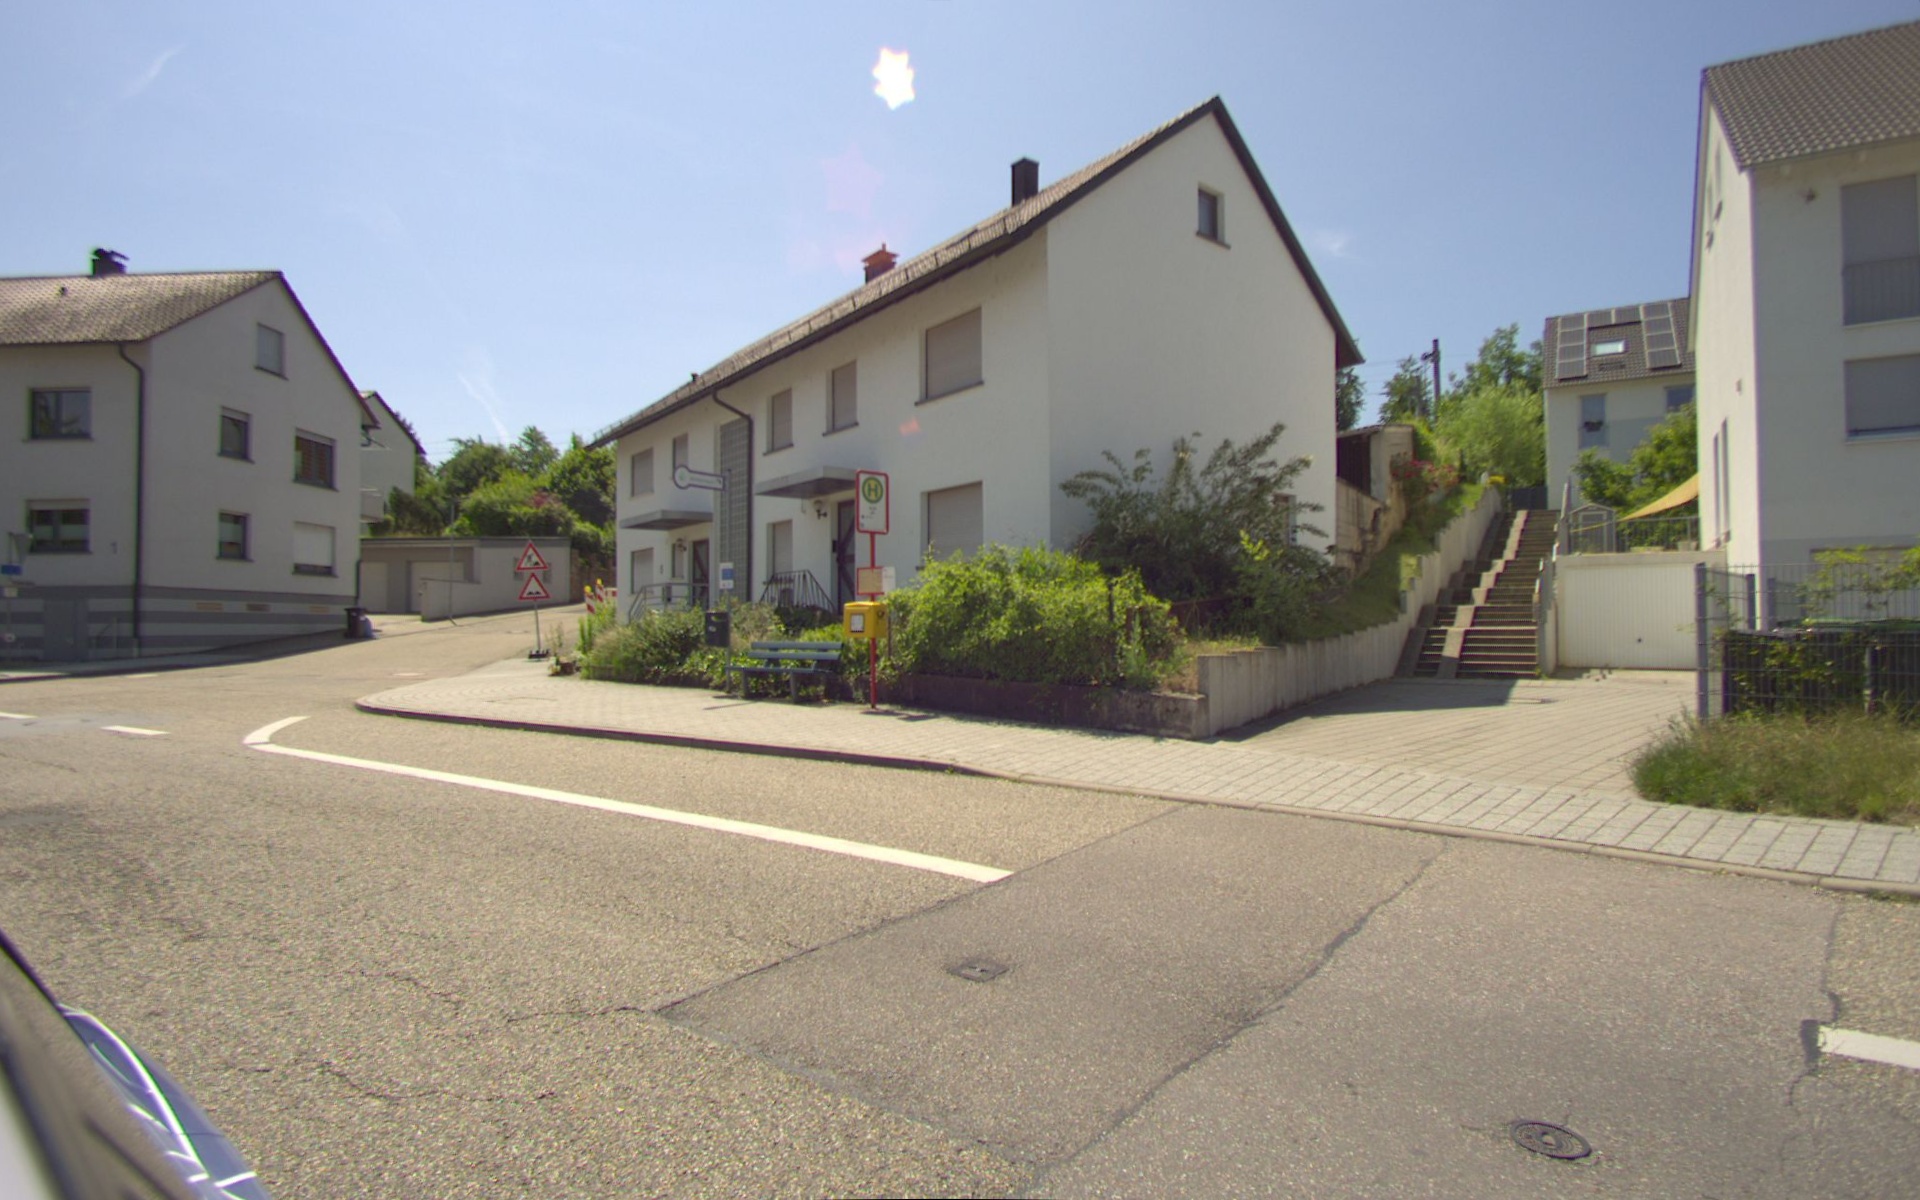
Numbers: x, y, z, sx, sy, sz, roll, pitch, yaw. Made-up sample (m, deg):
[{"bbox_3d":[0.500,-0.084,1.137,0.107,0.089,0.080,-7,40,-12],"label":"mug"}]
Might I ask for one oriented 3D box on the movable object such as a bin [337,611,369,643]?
[{"bbox_3d":[-18.355,0.813,30.617,0.592,0.941,0.600,0,-2,0],"label":"movable object such as a bin"}]
